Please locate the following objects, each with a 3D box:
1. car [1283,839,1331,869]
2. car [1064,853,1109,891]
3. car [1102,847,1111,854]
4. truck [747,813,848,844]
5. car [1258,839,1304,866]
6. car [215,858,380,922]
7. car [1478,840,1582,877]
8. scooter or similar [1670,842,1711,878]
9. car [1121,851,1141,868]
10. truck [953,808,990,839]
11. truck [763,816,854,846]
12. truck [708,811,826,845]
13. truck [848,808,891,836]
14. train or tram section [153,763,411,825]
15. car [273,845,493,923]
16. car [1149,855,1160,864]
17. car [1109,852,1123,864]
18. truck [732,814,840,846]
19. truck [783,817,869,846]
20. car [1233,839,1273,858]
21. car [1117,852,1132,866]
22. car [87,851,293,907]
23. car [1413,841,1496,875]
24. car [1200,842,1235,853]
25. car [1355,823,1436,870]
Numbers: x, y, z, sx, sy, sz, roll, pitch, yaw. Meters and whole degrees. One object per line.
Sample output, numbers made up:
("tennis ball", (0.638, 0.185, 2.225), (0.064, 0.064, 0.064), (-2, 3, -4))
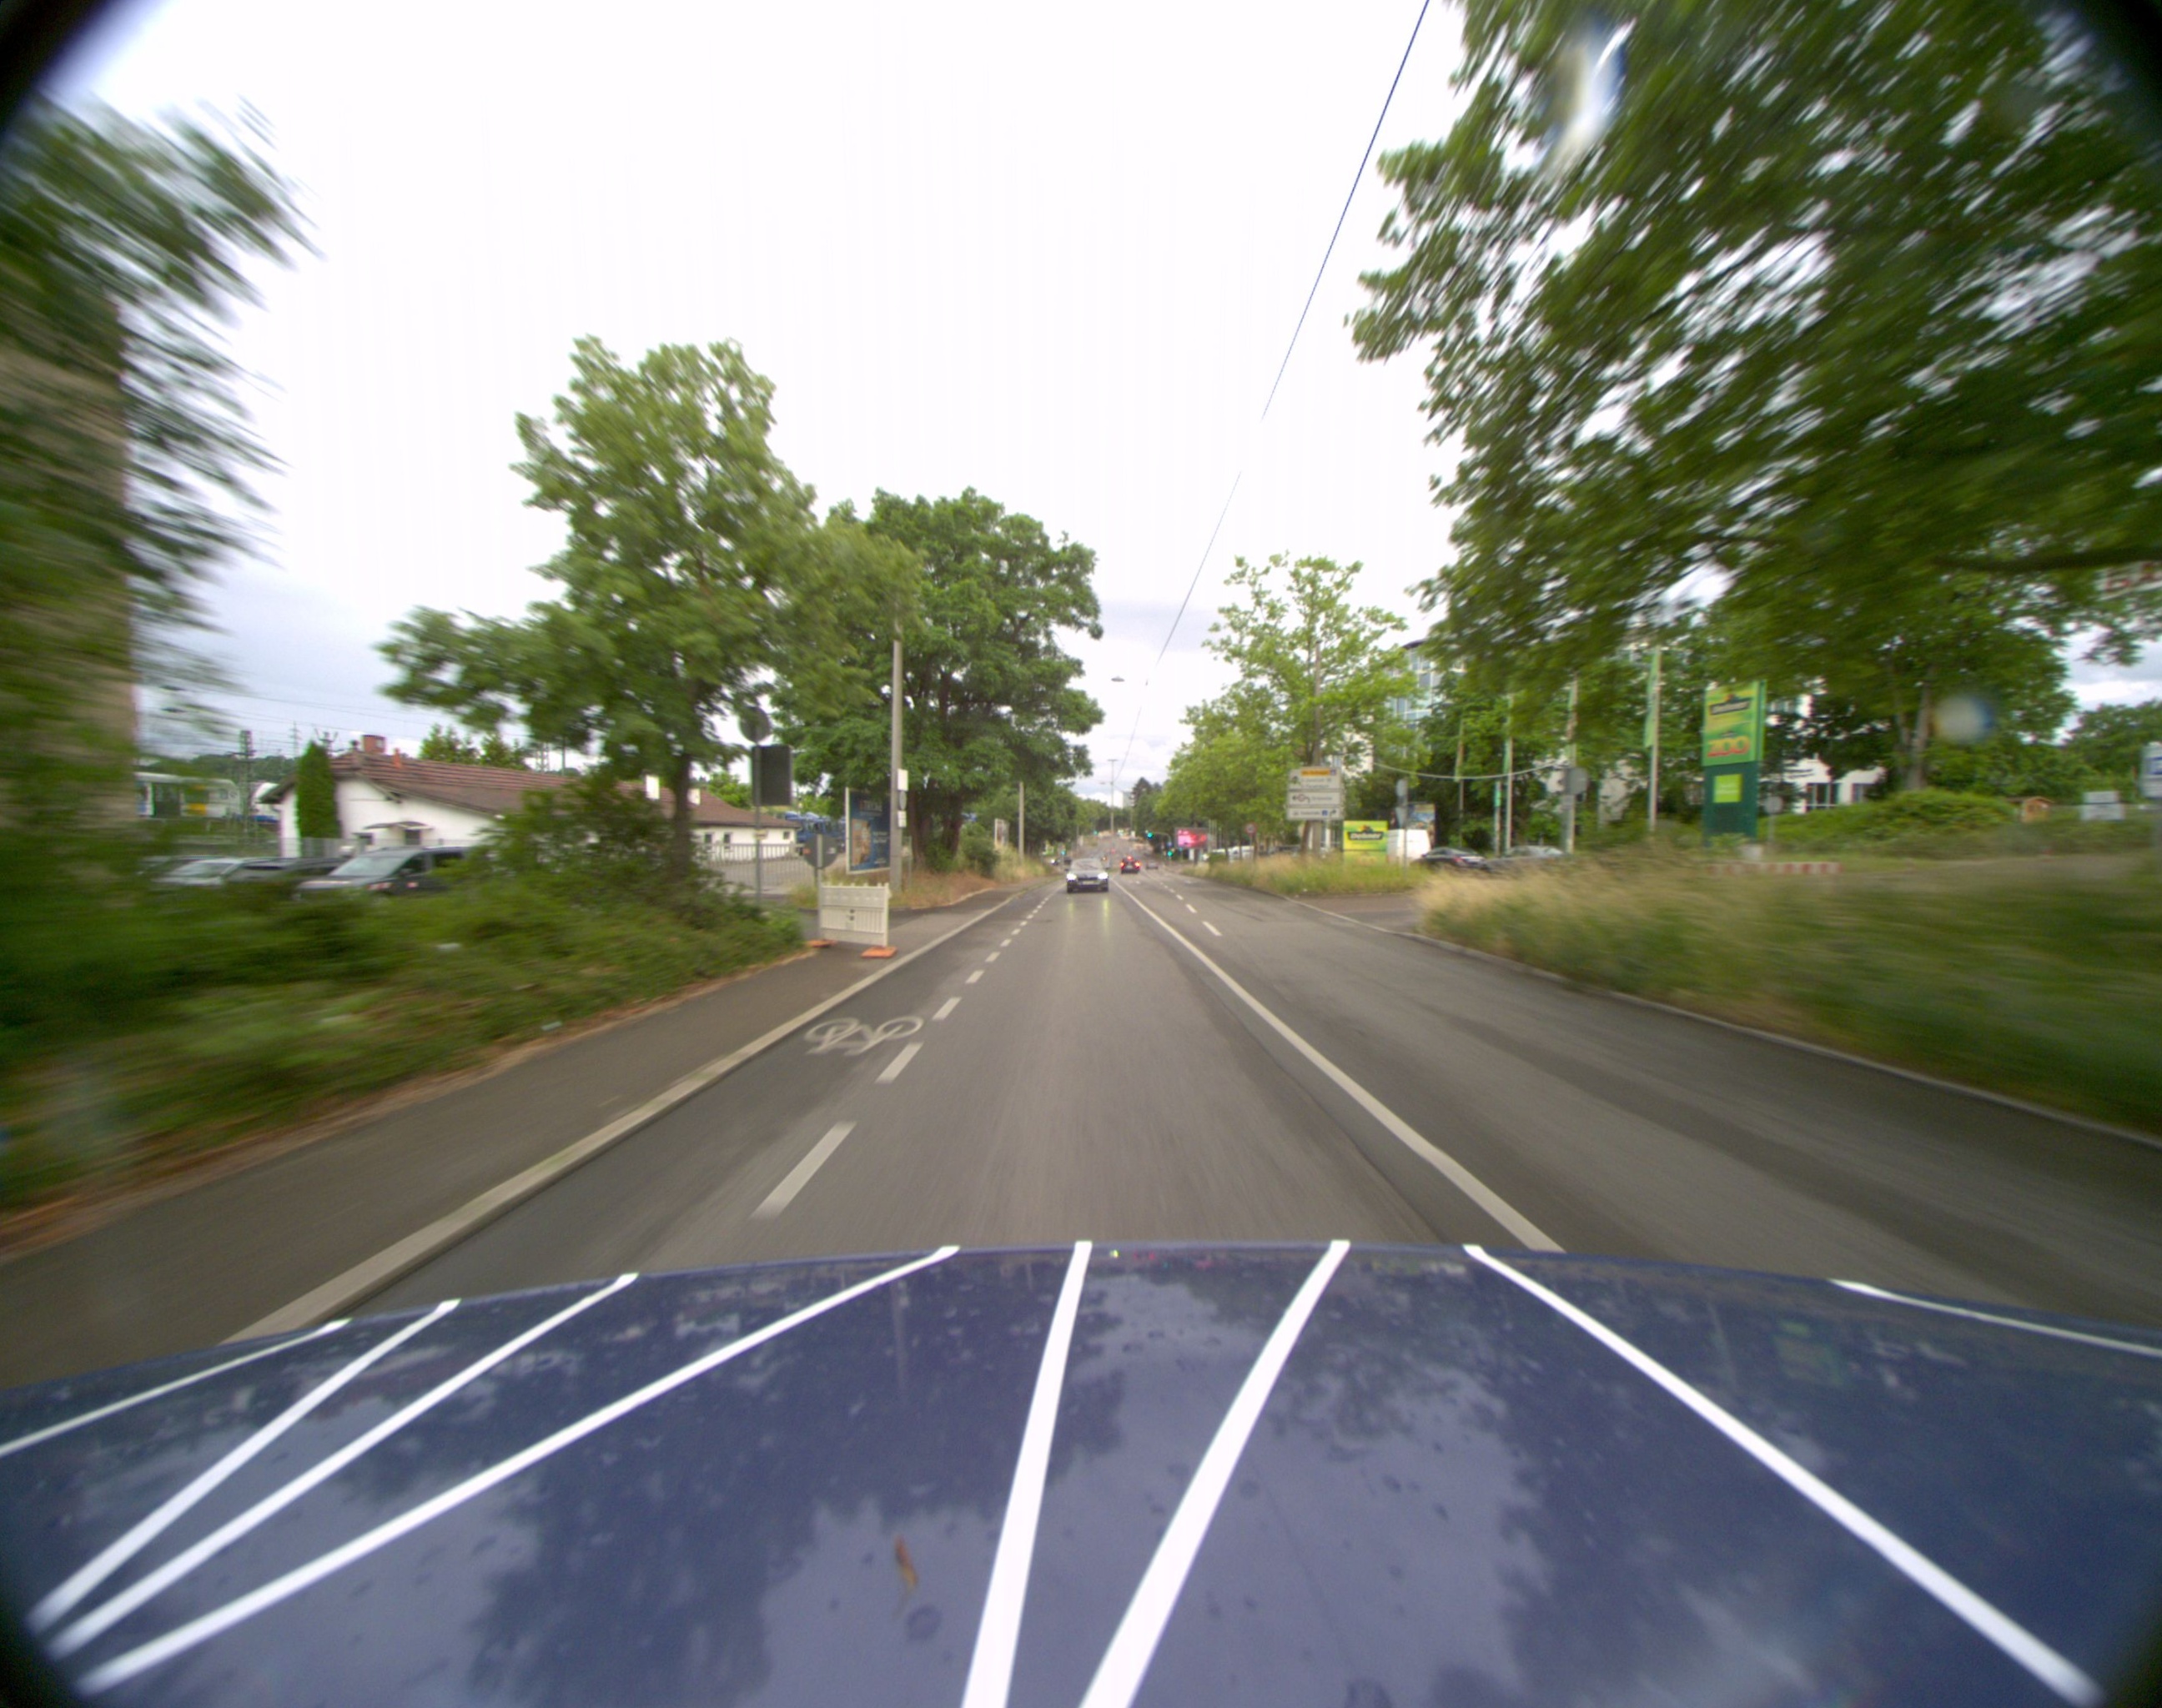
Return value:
("car", (11.508, -0.024, 38.881), (1.364, 1.387, 3.706), (0, 2, 0))
("car", (0.274, 0.767, 33.590), (1.811, 1.509, 4.052), (-2, 0, 1))
("car", (5.513, -0.846, 165.267), (1.752, 1.362, 3.755), (-3, 2, 0))
("truck", (-25.459, -2.268, 68.475), (8.026, 2.723, 2.586), (0, 2, -1))
("car", (11.462, -0.124, 43.723), (1.658, 1.444, 3.644), (0, 2, 0))
("car", (-21.637, 0.933, 21.144), (1.418, 1.522, 3.016), (0, 2, 1))
("car", (17.832, 0.142, 30.409), (1.405, 1.310, 4.276), (0, 2, -4))
("scooter or similar", (21.712, 0.211, 27.091), (0.496, 1.238, 1.130), (-1, 2, -1))
("car", (5.666, 0.590, 86.483), (2.019, 1.856, 5.042), (0, 0, 2))
("truck", (-10.454, -2.895, 72.941), (2.290, 2.635, 6.051), (-6, 2, 1))
("truck", (-26.004, -2.190, 72.718), (7.730, 2.840, 2.586), (0, 2, -1))
("truck", (-24.982, -2.103, 60.707), (8.319, 2.602, 2.586), (0, 2, -1))
("truck", (-25.902, -3.875, 93.618), (2.256, 3.178, 9.639), (-1, 2, 1))
("train or tram section", (-62.167, -4.457, 60.390), (3.286, 3.800, 15.892), (-1, 1, 1))
("car", (-19.176, 0.723, 21.244), (1.786, 1.848, 4.651), (0, 2, 0))
("car", (11.351, 0.870, 117.216), (1.380, 1.216, 2.452), (0, 2, 1))
("car", (4.873, 0.600, 106.842), (1.810, 1.522, 4.440), (0, 2, 2))
("truck", (-25.039, -2.070, 64.678), (8.112, 2.640, 2.586), (0, 2, -1))
("truck", (-25.599, -2.290, 76.399), (7.757, 2.799, 2.586), (0, 2, -1))
("car", (11.021, -0.337, 48.959), (1.702, 1.198, 4.219), (0, 0, 1))
("car", (5.775, 0.640, 100.806), (1.959, 1.687, 4.626), (0, 0, 3))
("car", (-26.703, 0.683, 23.002), (1.430, 1.454, 3.999), (0, 2, 1))
("car", (17.420, 0.143, 35.616), (1.848, 1.460, 3.668), (0, 2, -4))
("car", (22.980, -1.056, 127.828), (5.371, 1.792, 2.218), (0, 2, -6))
("car", (17.478, -0.359, 42.586), (1.968, 2.428, 5.655), (1, -1, -3))
